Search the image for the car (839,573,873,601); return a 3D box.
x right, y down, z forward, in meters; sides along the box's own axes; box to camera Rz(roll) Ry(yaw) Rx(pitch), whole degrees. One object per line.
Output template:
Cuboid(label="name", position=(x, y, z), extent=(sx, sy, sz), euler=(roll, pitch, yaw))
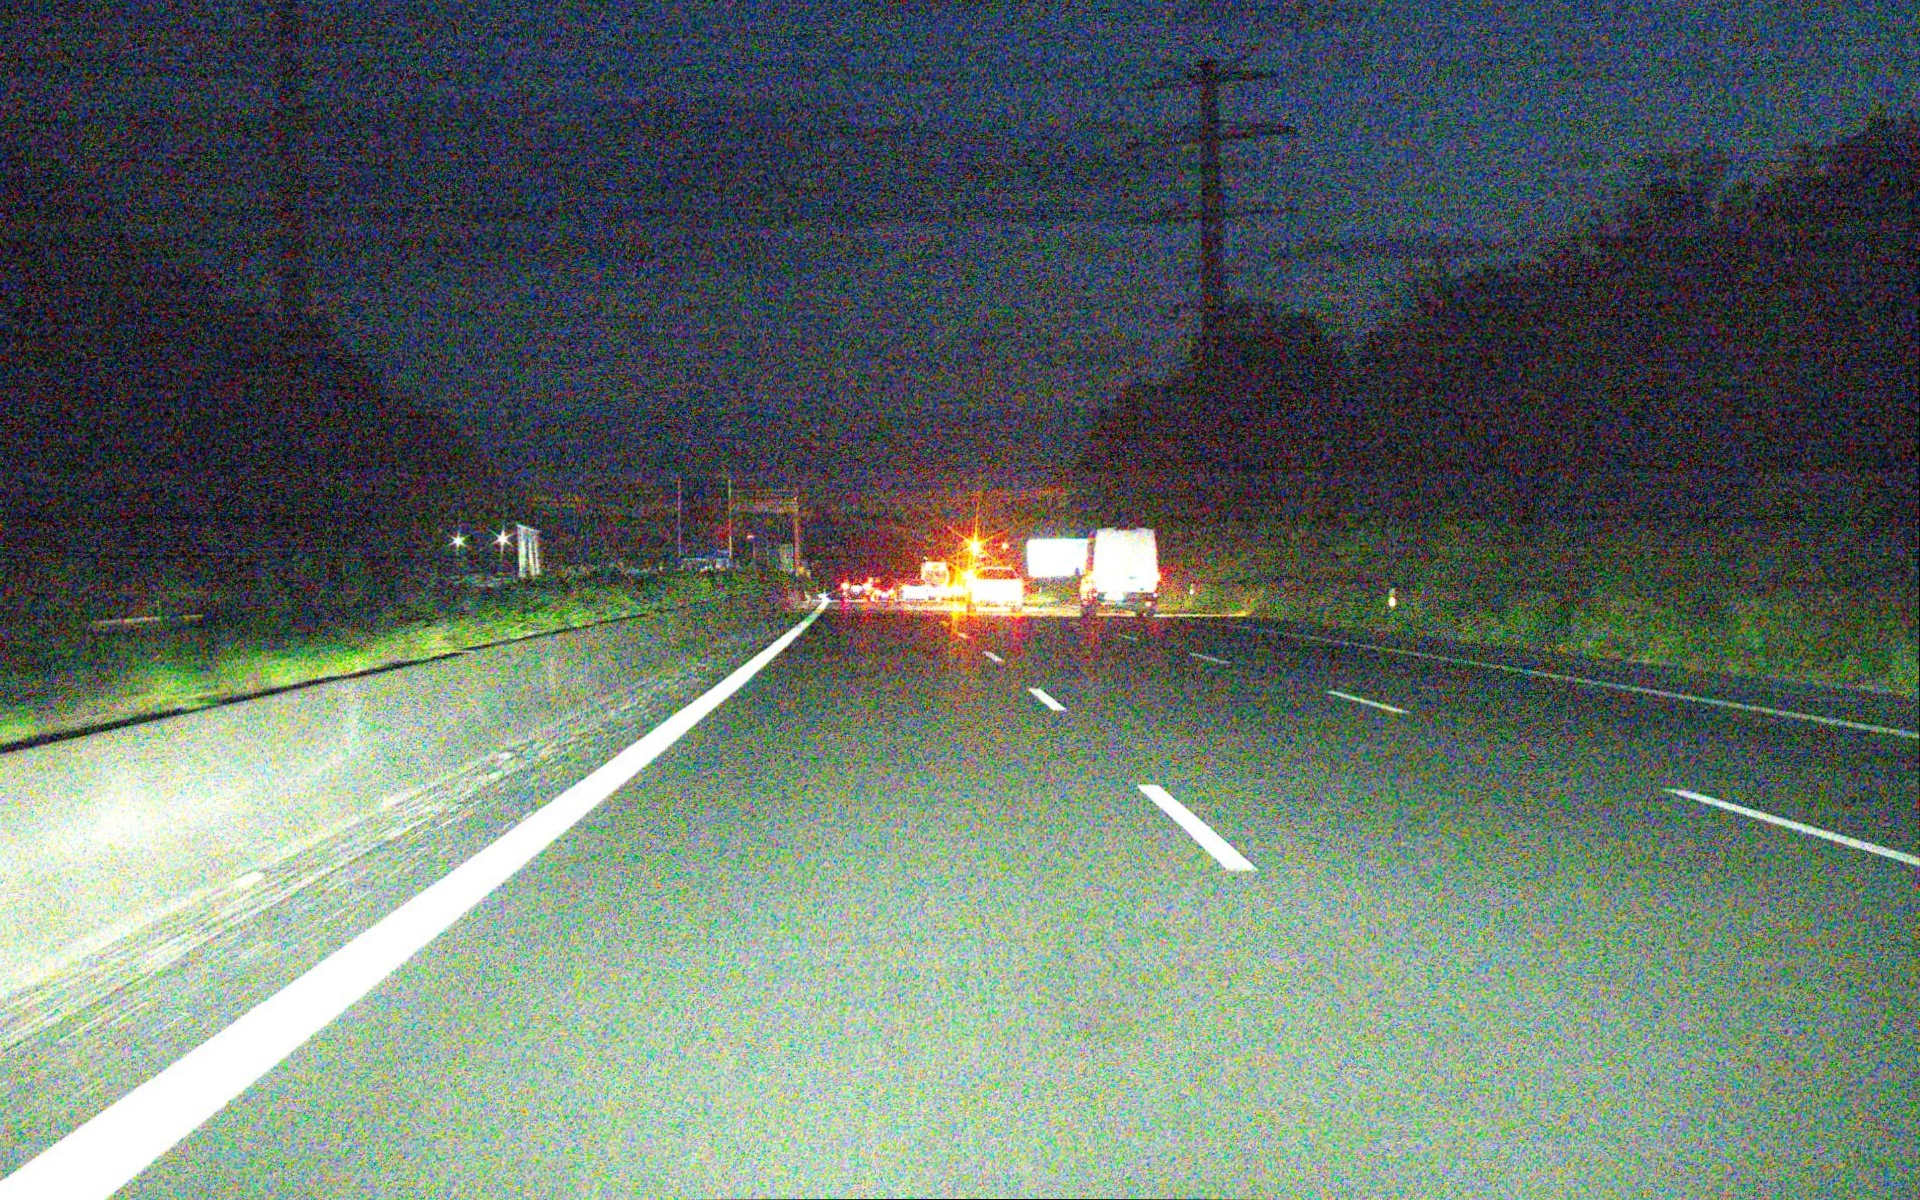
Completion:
Cuboid(label="car", position=(-5.836, -0.737, 193.161), extent=(1.821, 1.461, 4.248), euler=(1, 1, -1))

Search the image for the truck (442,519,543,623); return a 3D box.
Cuboid(label="truck", position=(-20.546, -1.348, 152.031), extent=(3.113, 4.188, 16.982), euler=(-2, 1, -4))

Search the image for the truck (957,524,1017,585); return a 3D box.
Cuboid(label="truck", position=(1.478, -2.586, 193.277), extent=(3.044, 3.313, 10.142), euler=(1, 1, -1))

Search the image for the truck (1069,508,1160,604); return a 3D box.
Cuboid(label="truck", position=(4.707, -1.308, 105.514), extent=(2.076, 2.682, 7.308), euler=(1, -1, -3))

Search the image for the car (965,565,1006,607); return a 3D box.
Cuboid(label="car", position=(0.873, -0.501, 119.978), extent=(1.346, 1.382, 3.502), euler=(1, 1, -1))

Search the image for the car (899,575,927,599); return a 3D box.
Cuboid(label="car", position=(-3.057, -0.850, 223.724), extent=(1.821, 1.461, 4.248), euler=(1, 1, -1))
